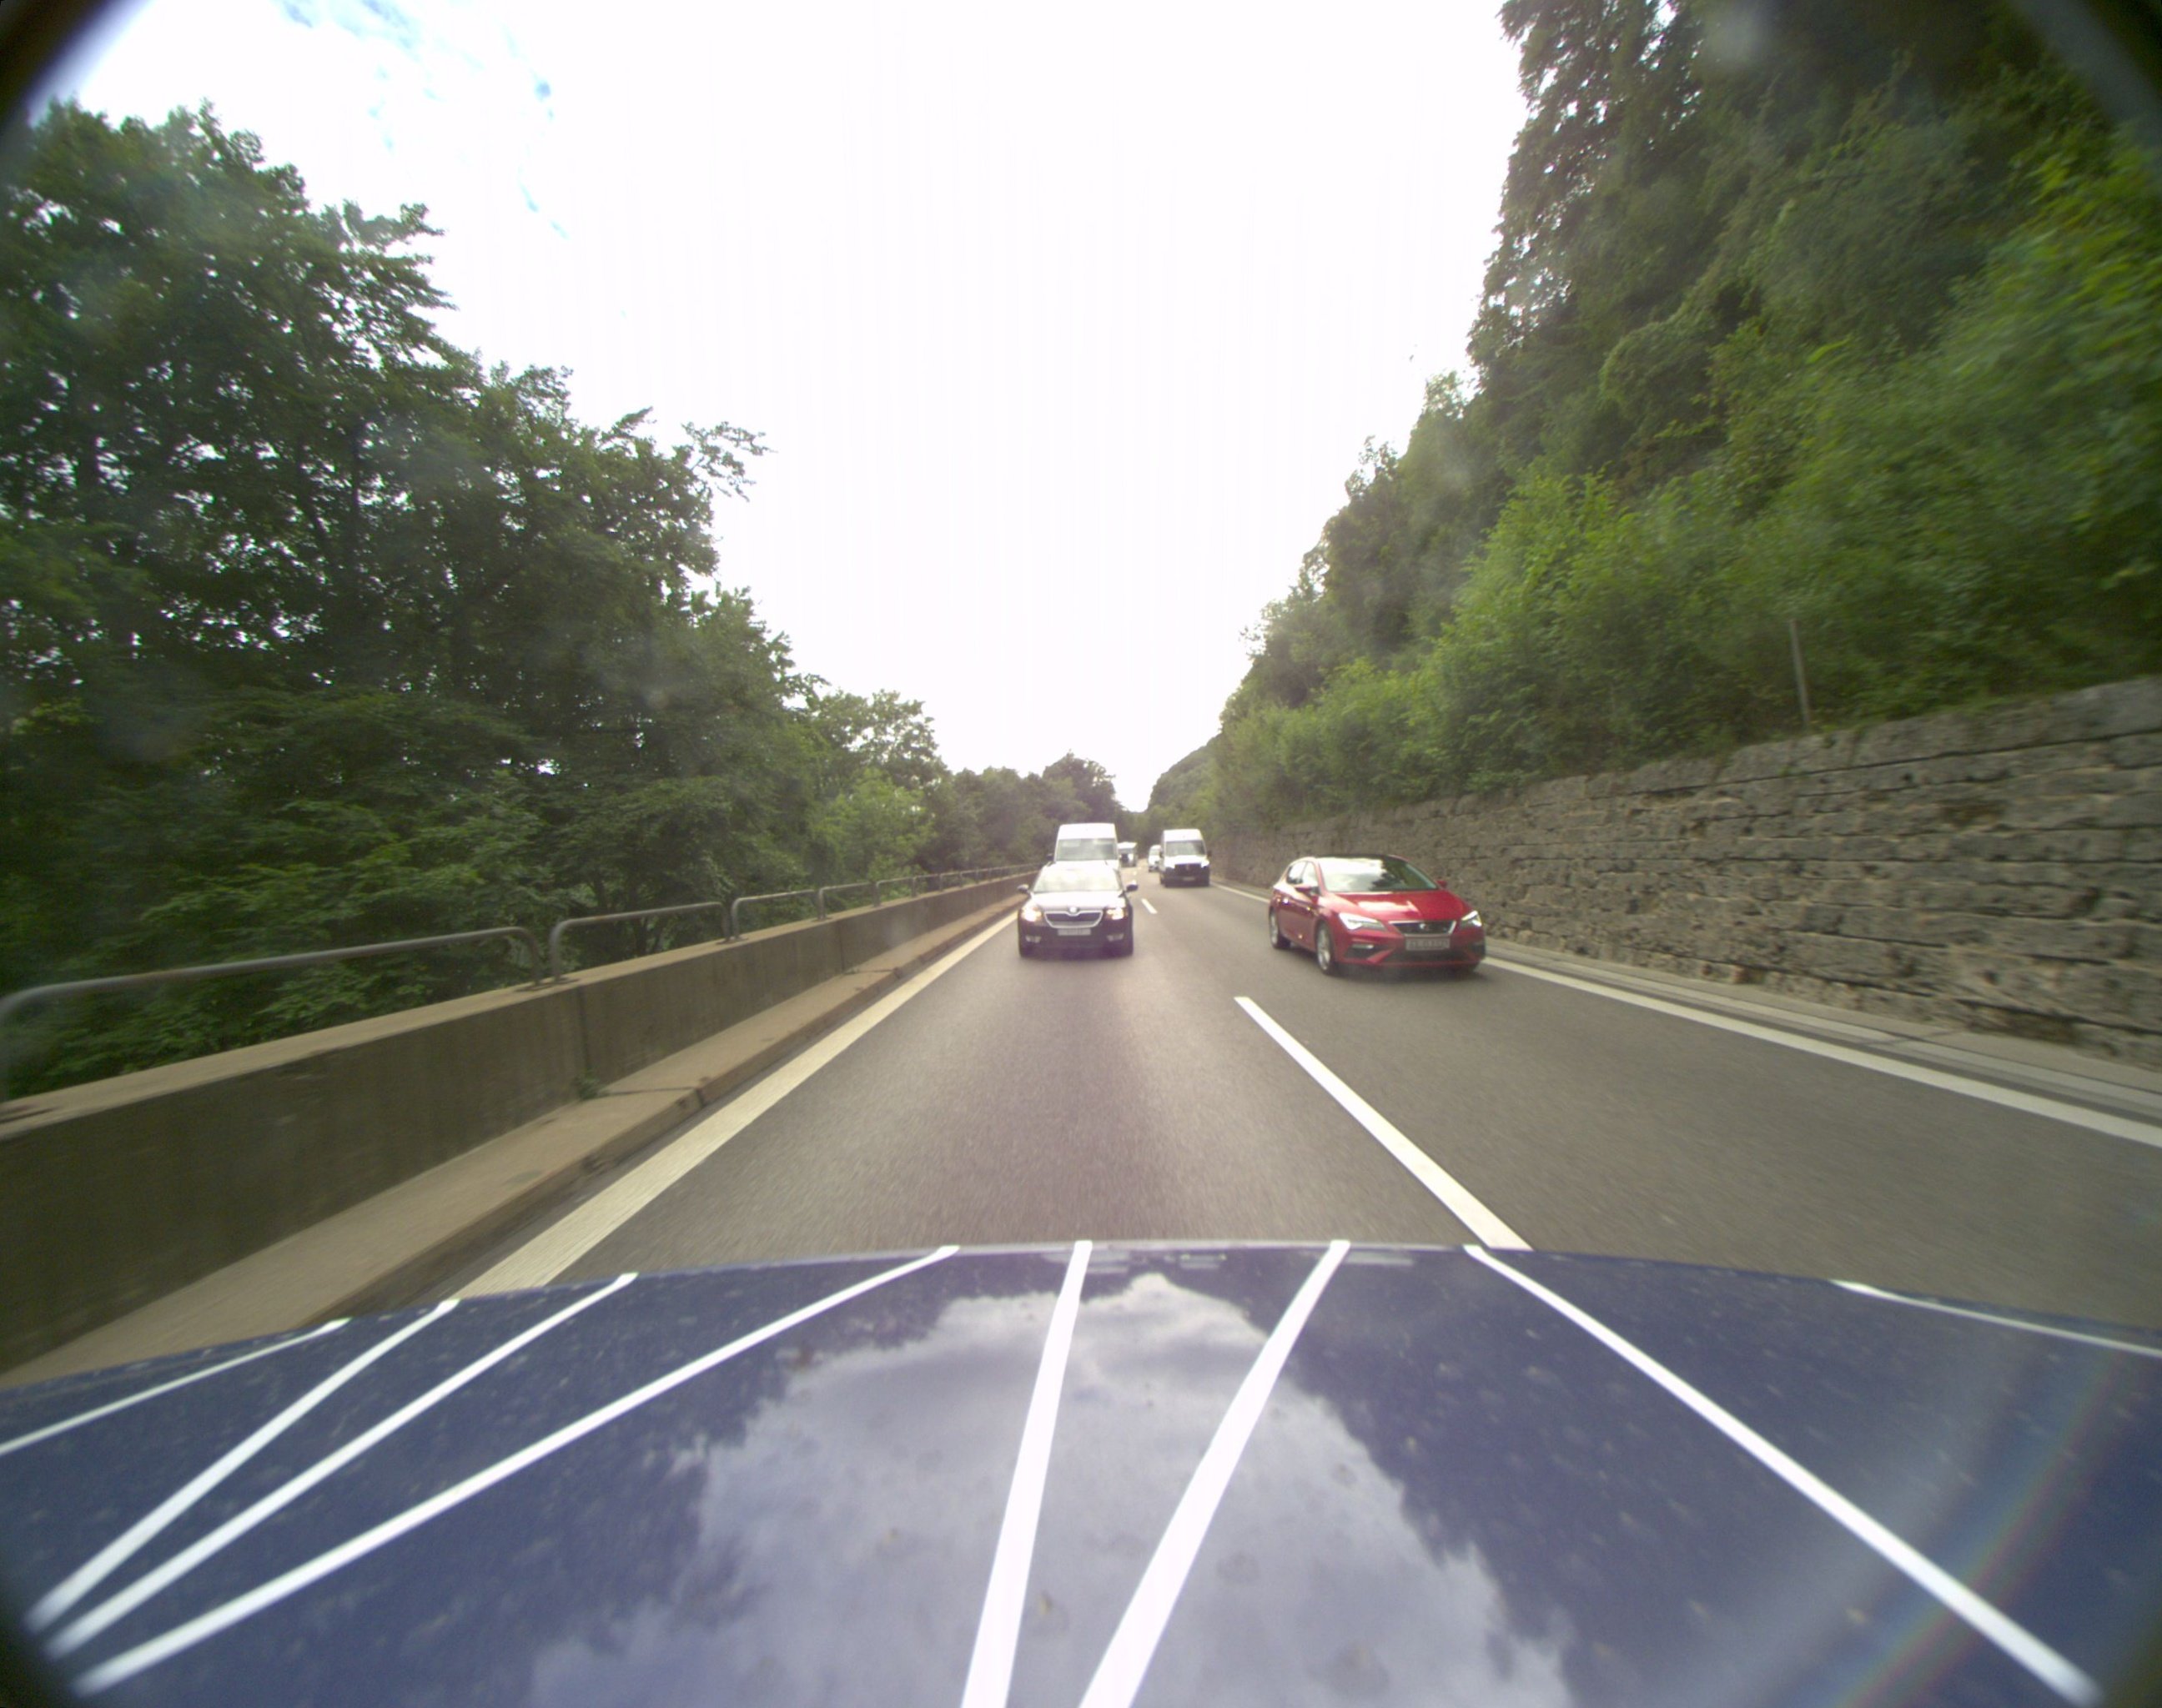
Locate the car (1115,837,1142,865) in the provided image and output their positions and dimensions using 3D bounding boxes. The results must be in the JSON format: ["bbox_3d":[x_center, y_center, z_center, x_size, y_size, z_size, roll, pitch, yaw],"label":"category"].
[{"bbox_3d":[5.390,-0.339,85.340,2.275,2.941,7.190,-2,1,8],"label":"car"}]

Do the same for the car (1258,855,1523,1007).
[{"bbox_3d":[3.705,0.801,10.046,1.770,1.451,4.411,-2,1,1],"label":"car"}]

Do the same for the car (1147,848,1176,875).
[{"bbox_3d":[6.523,0.575,60.917,1.997,1.941,6.151,-3,0,8],"label":"car"}]

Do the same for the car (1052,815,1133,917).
[{"bbox_3d":[0.272,0.272,22.461,1.999,2.550,5.917,-2,1,-1],"label":"car"}]

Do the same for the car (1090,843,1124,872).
[{"bbox_3d":[1.940,0.207,55.340,1.997,1.871,4.001,-3,1,7],"label":"car"}]

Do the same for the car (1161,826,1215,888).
[{"bbox_3d":[4.866,0.078,35.381,2.030,2.570,6.276,-2,1,5],"label":"car"}]

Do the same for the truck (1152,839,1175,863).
[{"bbox_3d":[8.777,-0.329,80.755,1.997,2.266,6.589,-3,0,9],"label":"truck"}]

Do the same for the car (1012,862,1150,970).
[{"bbox_3d":[-0.133,0.908,13.589,1.913,1.391,5.695,-2,0,-3],"label":"car"}]
